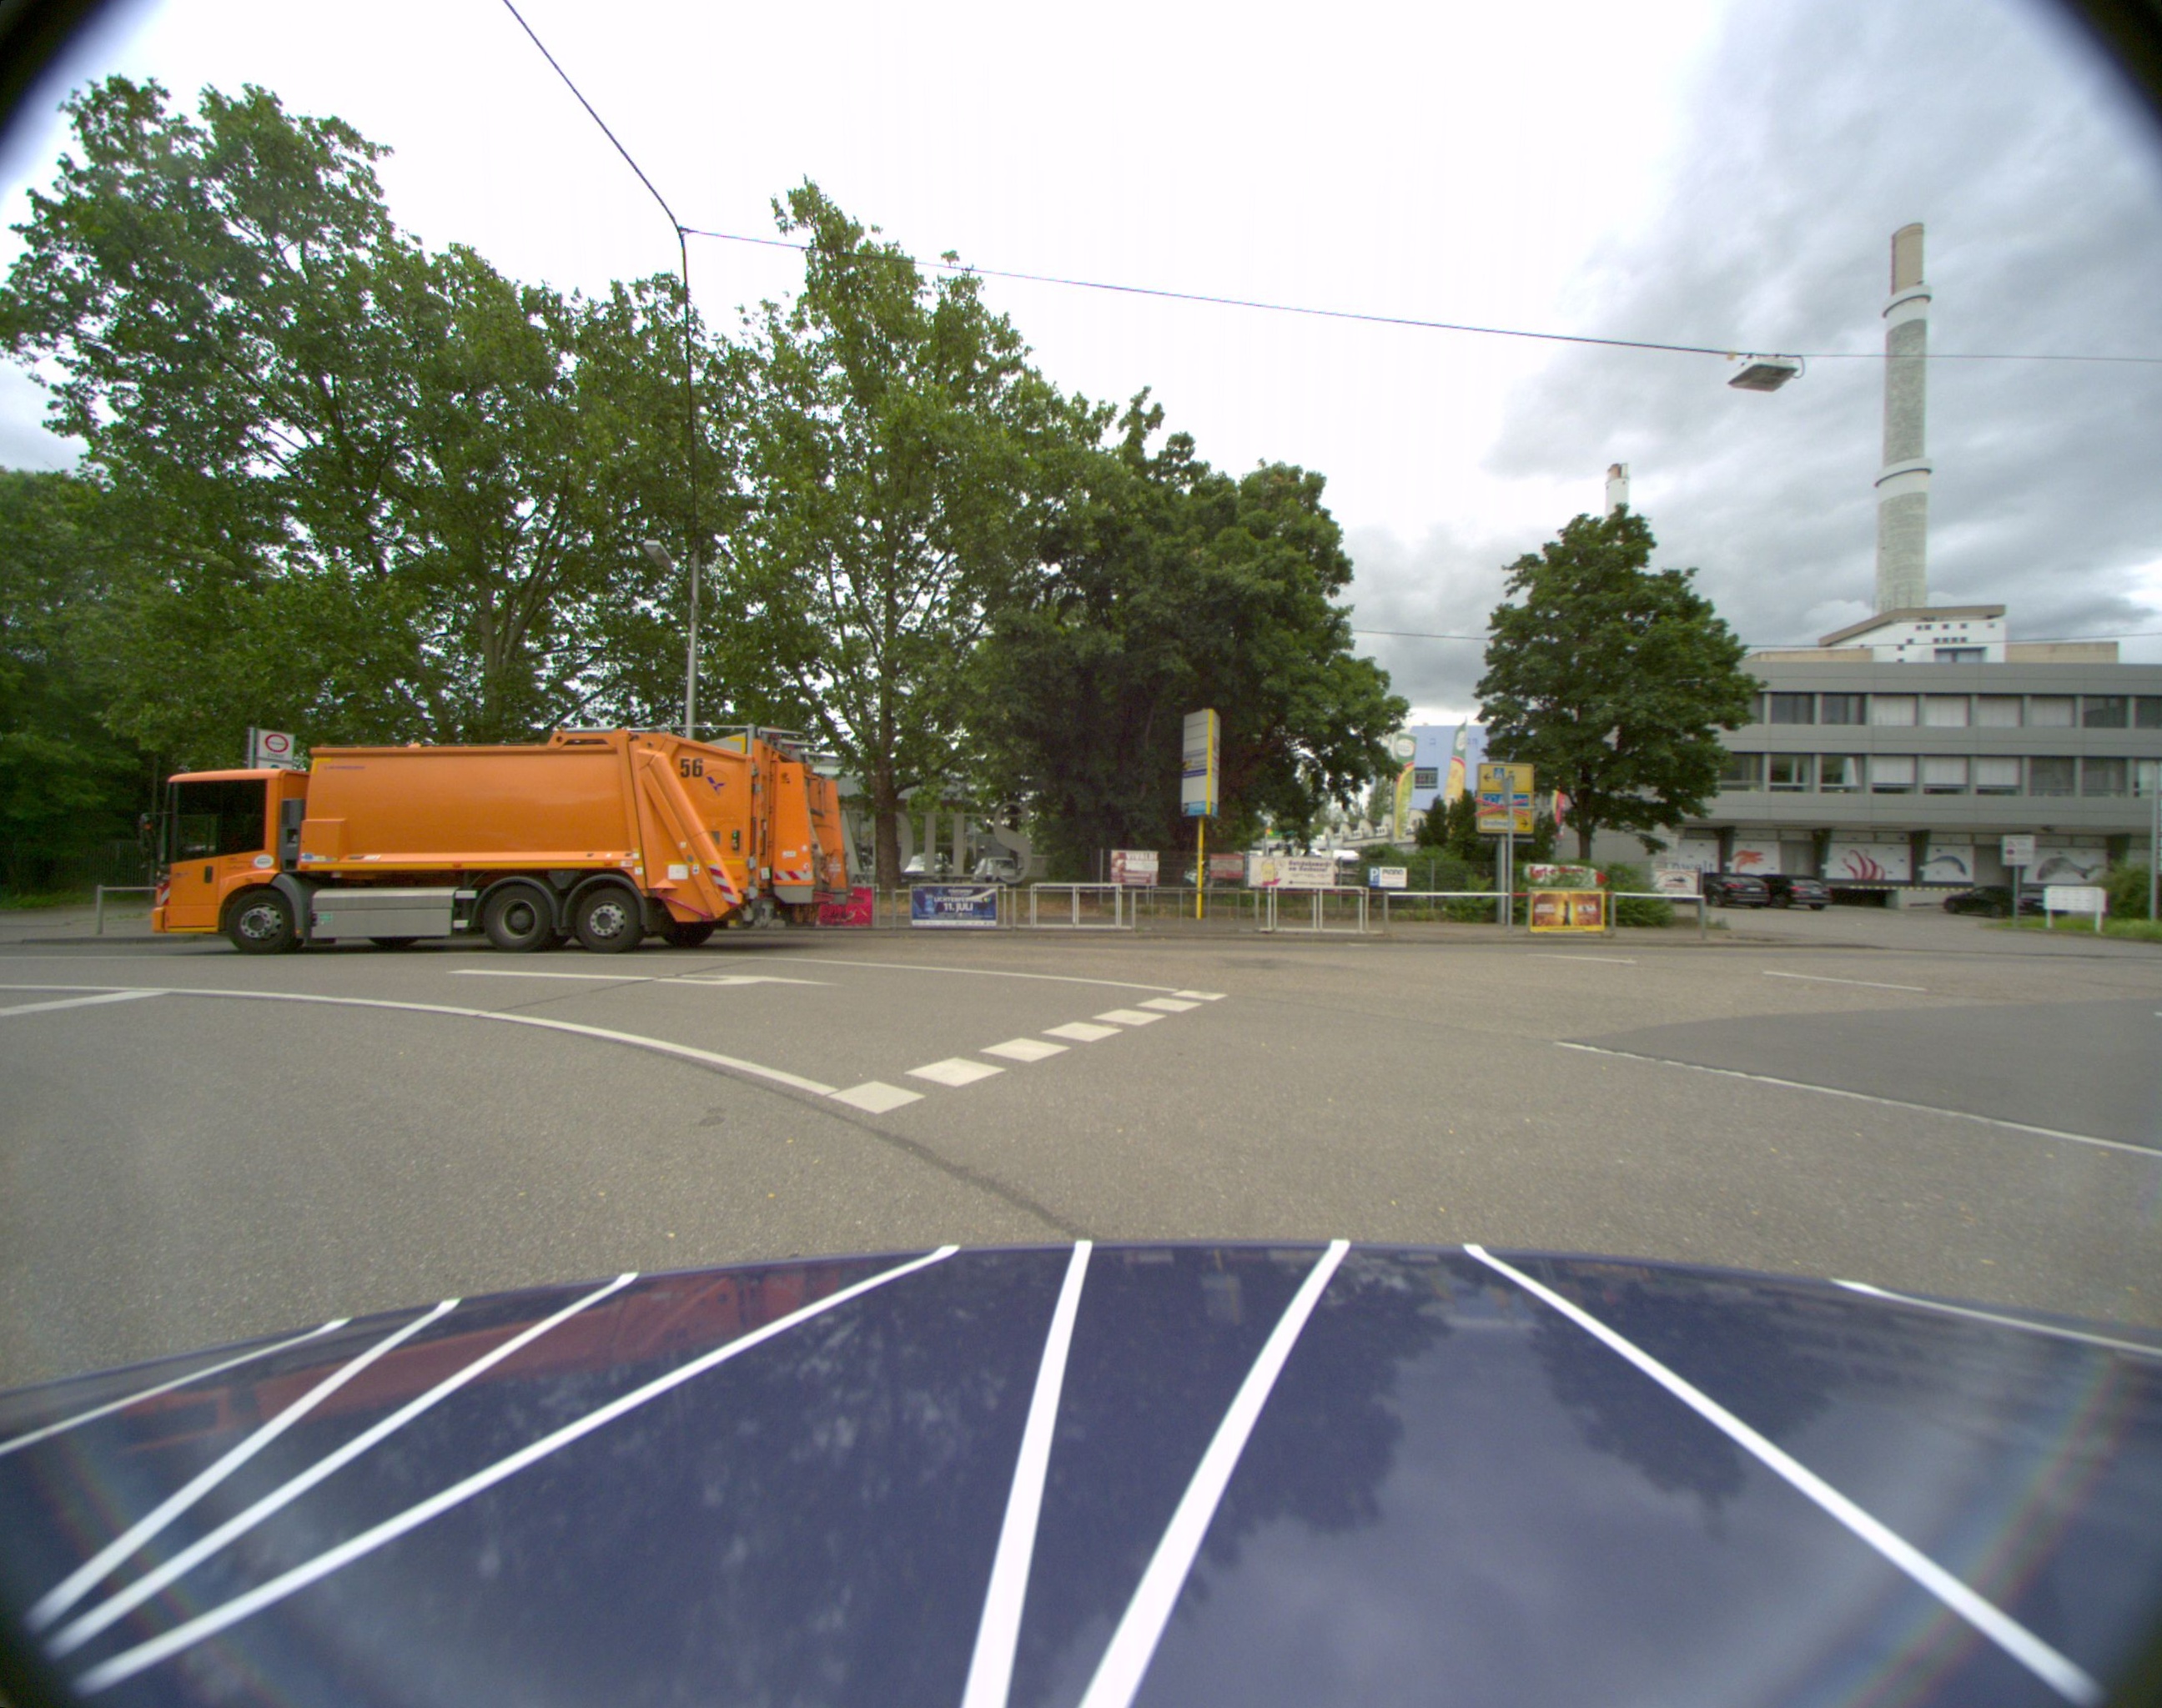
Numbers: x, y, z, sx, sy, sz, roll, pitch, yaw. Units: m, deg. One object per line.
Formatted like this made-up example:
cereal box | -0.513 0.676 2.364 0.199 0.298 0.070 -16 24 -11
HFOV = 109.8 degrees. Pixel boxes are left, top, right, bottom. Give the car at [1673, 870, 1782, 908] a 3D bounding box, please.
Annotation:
car | 31.654 1.675 37.414 1.836 1.608 4.467 2 0 6

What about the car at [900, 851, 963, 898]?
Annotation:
car | -5.540 0.780 28.693 1.591 1.603 4.318 1 -2 -1

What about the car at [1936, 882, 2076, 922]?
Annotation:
car | 42.492 2.136 35.091 2.045 1.437 4.836 1 1 23

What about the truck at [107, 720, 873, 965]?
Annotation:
truck | -9.002 -0.128 12.416 10.413 3.505 2.798 0 -1 1

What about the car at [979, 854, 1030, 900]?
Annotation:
car | -2.835 0.872 28.747 1.591 1.603 4.001 1 -2 -1

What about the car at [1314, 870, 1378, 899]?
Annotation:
car | 12.346 1.403 35.610 1.708 1.241 3.702 2 -1 1

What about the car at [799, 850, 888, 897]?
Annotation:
car | -8.929 0.755 28.995 1.883 1.603 4.527 1 -2 1

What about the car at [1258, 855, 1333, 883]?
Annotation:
car | 22.346 1.544 79.479 7.146 2.716 2.245 2 -1 4

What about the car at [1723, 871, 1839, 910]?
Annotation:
car | 34.429 1.738 37.538 1.837 1.608 4.425 2 0 5

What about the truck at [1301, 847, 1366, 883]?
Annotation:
truck | 29.870 1.335 90.985 2.849 3.909 15.733 2 -1 2

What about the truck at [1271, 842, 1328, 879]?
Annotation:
truck | 25.873 0.862 90.898 2.849 3.909 15.734 2 -1 2

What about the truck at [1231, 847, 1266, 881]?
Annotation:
truck | 22.003 1.337 100.085 2.996 4.141 9.192 1 -1 4
